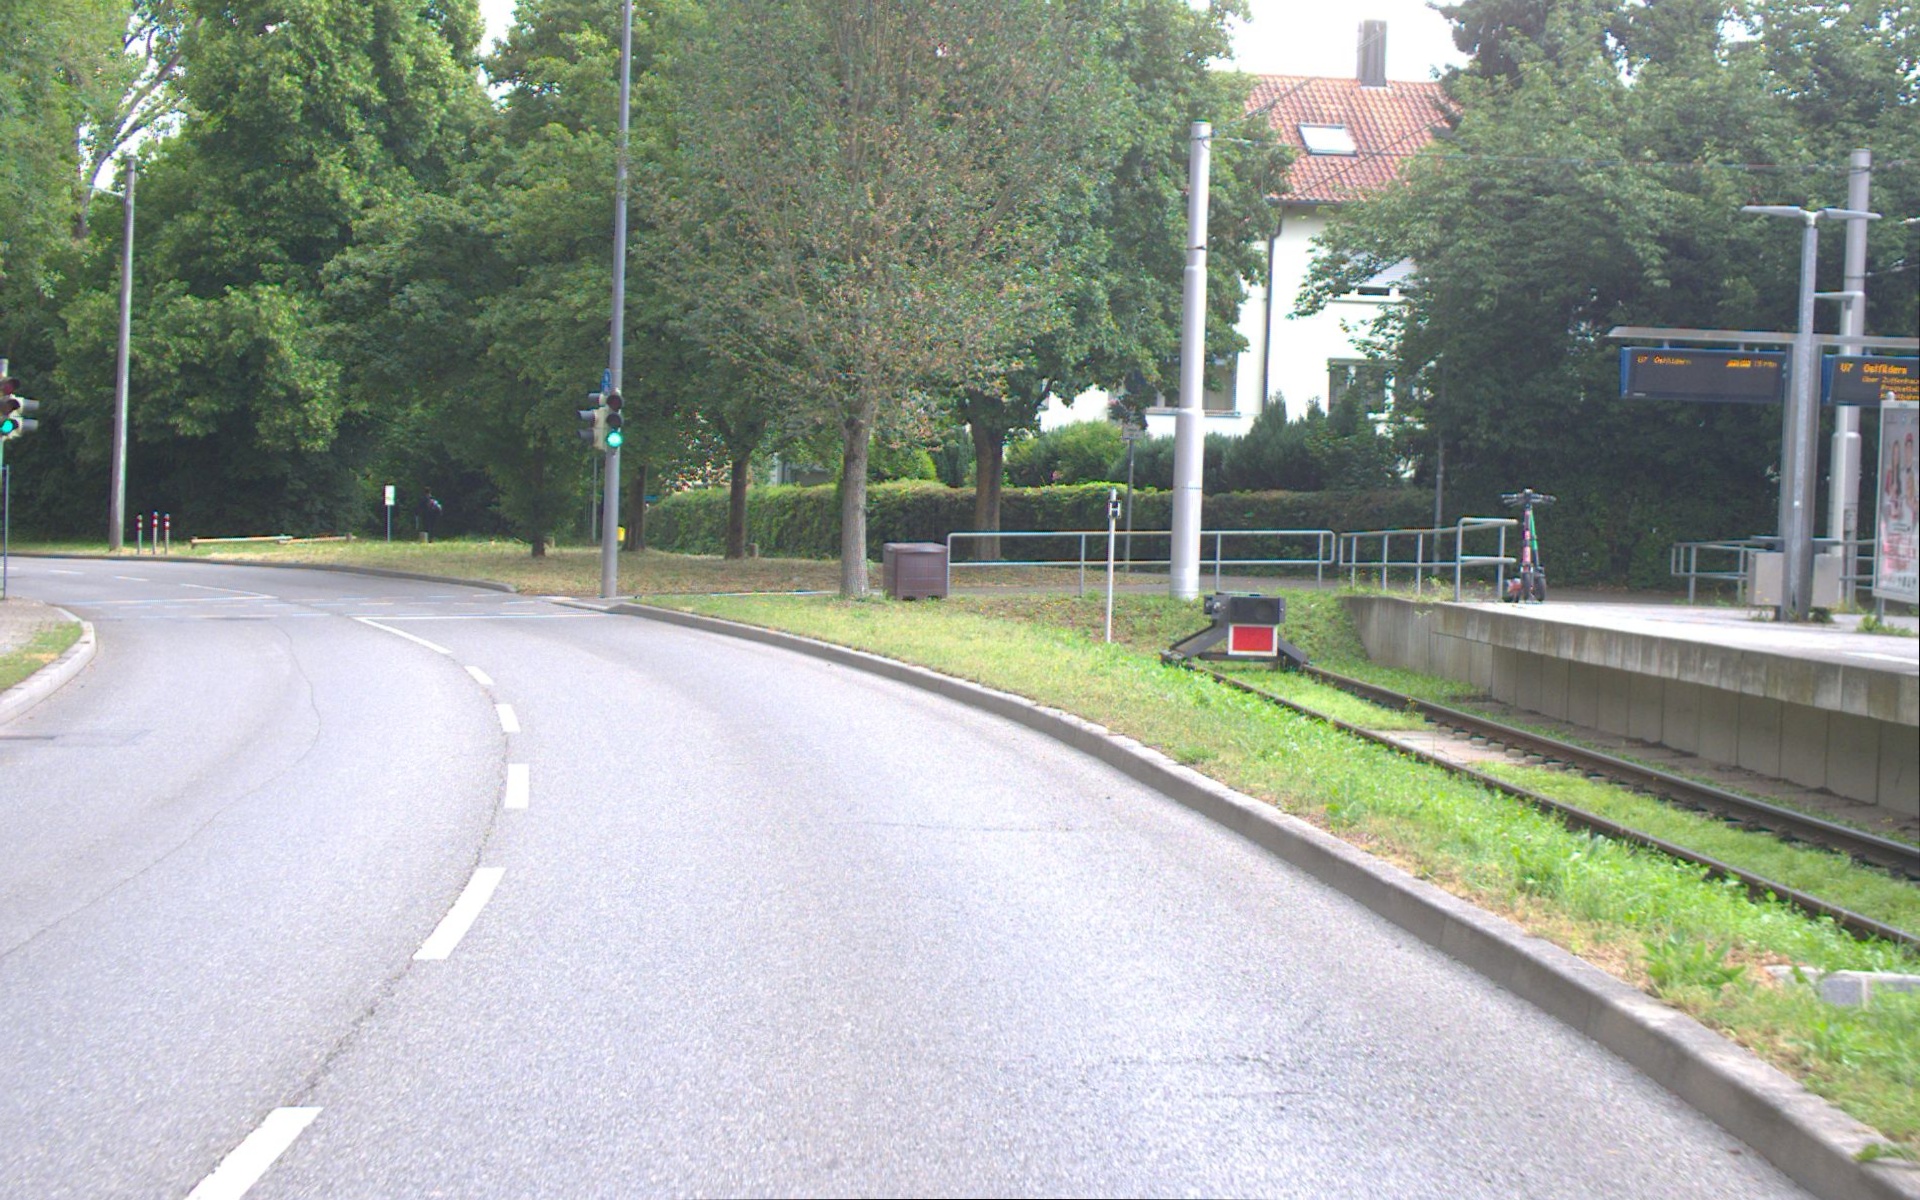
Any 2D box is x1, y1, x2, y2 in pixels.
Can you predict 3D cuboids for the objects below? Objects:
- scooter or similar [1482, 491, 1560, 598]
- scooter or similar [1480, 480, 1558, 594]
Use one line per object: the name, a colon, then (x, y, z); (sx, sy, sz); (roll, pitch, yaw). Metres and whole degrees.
scooter or similar: (6.678, -0.649, 40.949); (0.429, 1.249, 1.255); (0, 0, -15)
scooter or similar: (6.253, -0.690, 38.469); (0.429, 1.249, 1.255); (0, 0, -12)
